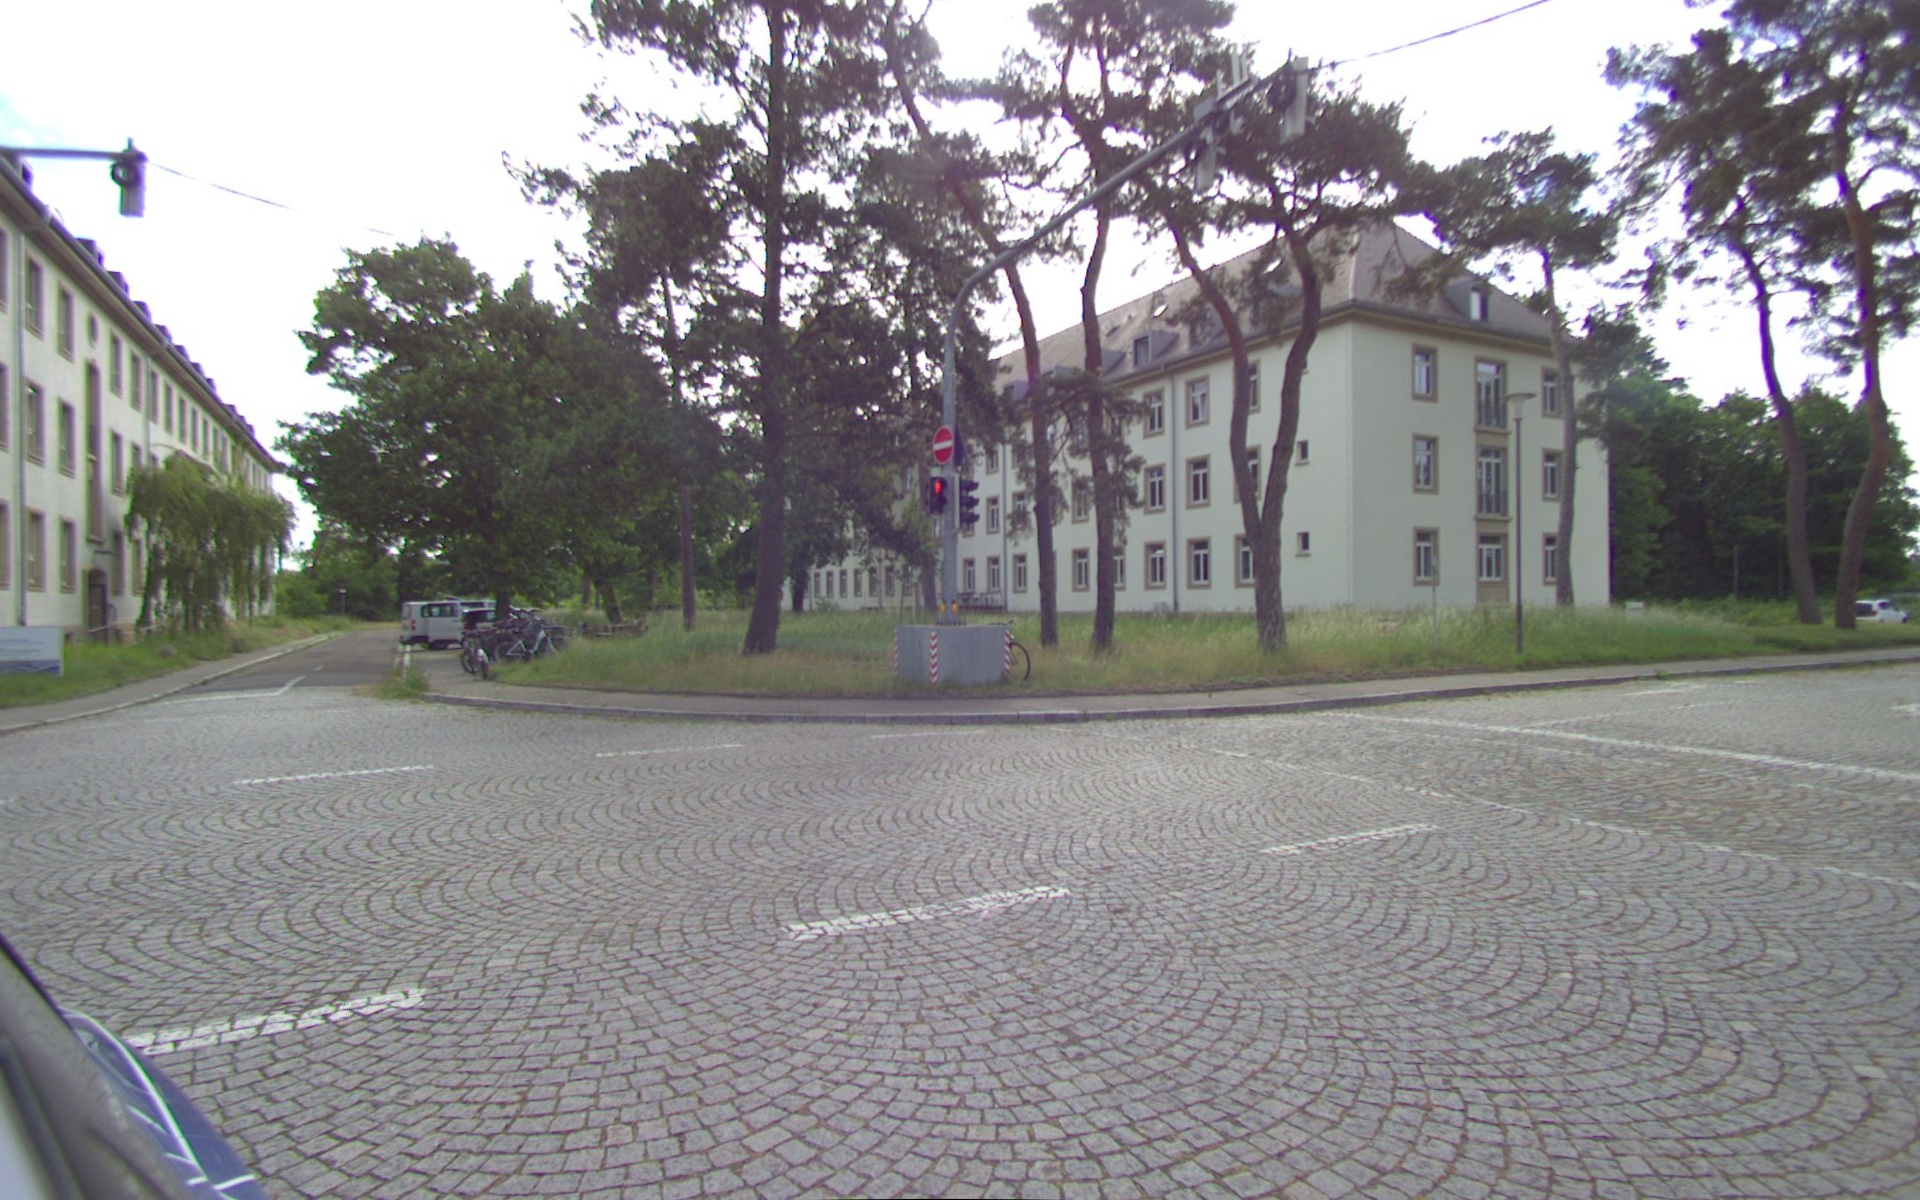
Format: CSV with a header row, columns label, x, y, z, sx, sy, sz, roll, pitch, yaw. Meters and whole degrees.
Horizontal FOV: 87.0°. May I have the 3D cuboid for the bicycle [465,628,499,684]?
label,x,y,z,sx,sy,sz,roll,pitch,yaw
bicycle,-10.149,1.162,21.457,0.489,1.082,1.421,-3,1,-29

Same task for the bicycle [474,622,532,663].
label,x,y,z,sx,sy,sz,roll,pitch,yaw
bicycle,-13.168,1.205,29.167,1.433,1.046,0.499,-4,1,-34

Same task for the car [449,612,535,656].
label,x,y,z,sx,sy,sz,roll,pitch,yaw
car,-17.479,1.256,37.767,2.726,1.426,1.597,-3,1,-30

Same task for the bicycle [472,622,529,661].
label,x,y,z,sx,sy,sz,roll,pitch,yaw
bicycle,-13.663,1.230,30.095,1.433,1.046,0.499,-4,1,-34

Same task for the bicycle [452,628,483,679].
label,x,y,z,sx,sy,sz,roll,pitch,yaw
bicycle,-11.084,1.179,22.780,0.489,1.046,1.421,-3,1,-29

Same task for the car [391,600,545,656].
label,x,y,z,sx,sy,sz,roll,pitch,yaw
car,-19.586,1.072,40.435,5.093,1.931,2.038,-3,1,-42

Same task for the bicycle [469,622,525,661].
label,x,y,z,sx,sy,sz,roll,pitch,yaw
bicycle,-13.940,1.239,30.486,1.433,1.046,0.499,-4,1,-34

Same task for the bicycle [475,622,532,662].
label,x,y,z,sx,sy,sz,roll,pitch,yaw
bicycle,-13.371,1.211,29.659,1.433,1.046,0.499,-4,1,-34

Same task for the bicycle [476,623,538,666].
label,x,y,z,sx,sy,sz,roll,pitch,yaw
bicycle,-12.405,1.209,27.738,1.433,1.046,0.499,-4,1,-34

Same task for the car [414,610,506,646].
label,x,y,z,sx,sy,sz,roll,pitch,yaw
car,-26.161,1.418,52.991,4.026,1.733,1.864,0,1,-37

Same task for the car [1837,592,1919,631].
label,x,y,z,sx,sy,sz,roll,pitch,yaw
car,41.630,0.475,45.563,3.987,1.622,1.722,-1,1,-25

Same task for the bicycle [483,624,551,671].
label,x,y,z,sx,sy,sz,roll,pitch,yaw
bicycle,-11.062,1.170,25.296,1.433,1.046,0.499,-4,1,-34

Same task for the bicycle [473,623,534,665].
label,x,y,z,sx,sy,sz,roll,pitch,yaw
bicycle,-12.680,1.202,28.150,1.433,1.046,0.499,-4,1,-34

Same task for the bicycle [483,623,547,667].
label,x,y,z,sx,sy,sz,roll,pitch,yaw
bicycle,-11.758,1.184,26.767,1.433,1.046,0.499,-4,1,-34

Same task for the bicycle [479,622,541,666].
label,x,y,z,sx,sy,sz,roll,pitch,yaw
bicycle,-12.152,1.175,27.341,1.433,1.046,0.499,-4,1,-34

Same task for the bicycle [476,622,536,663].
label,x,y,z,sx,sy,sz,roll,pitch,yaw
bicycle,-12.896,1.206,28.756,1.433,1.046,0.499,-4,1,-34

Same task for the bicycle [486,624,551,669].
label,x,y,z,sx,sy,sz,roll,pitch,yaw
bicycle,-11.451,1.185,26.266,1.433,1.046,0.499,-4,1,-34

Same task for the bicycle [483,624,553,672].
label,x,y,z,sx,sy,sz,roll,pitch,yaw
bicycle,-10.731,1.148,24.567,1.434,1.046,0.499,-4,2,-36

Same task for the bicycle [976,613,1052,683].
label,x,y,z,sx,sy,sz,roll,pitch,yaw
bicycle,0.882,0.770,16.850,0.489,1.082,1.421,-3,1,-32

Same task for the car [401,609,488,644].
label,x,y,z,sx,sy,sz,roll,pitch,yaw
car,-28.250,1.407,55.503,4.026,1.780,1.835,0,1,-37
